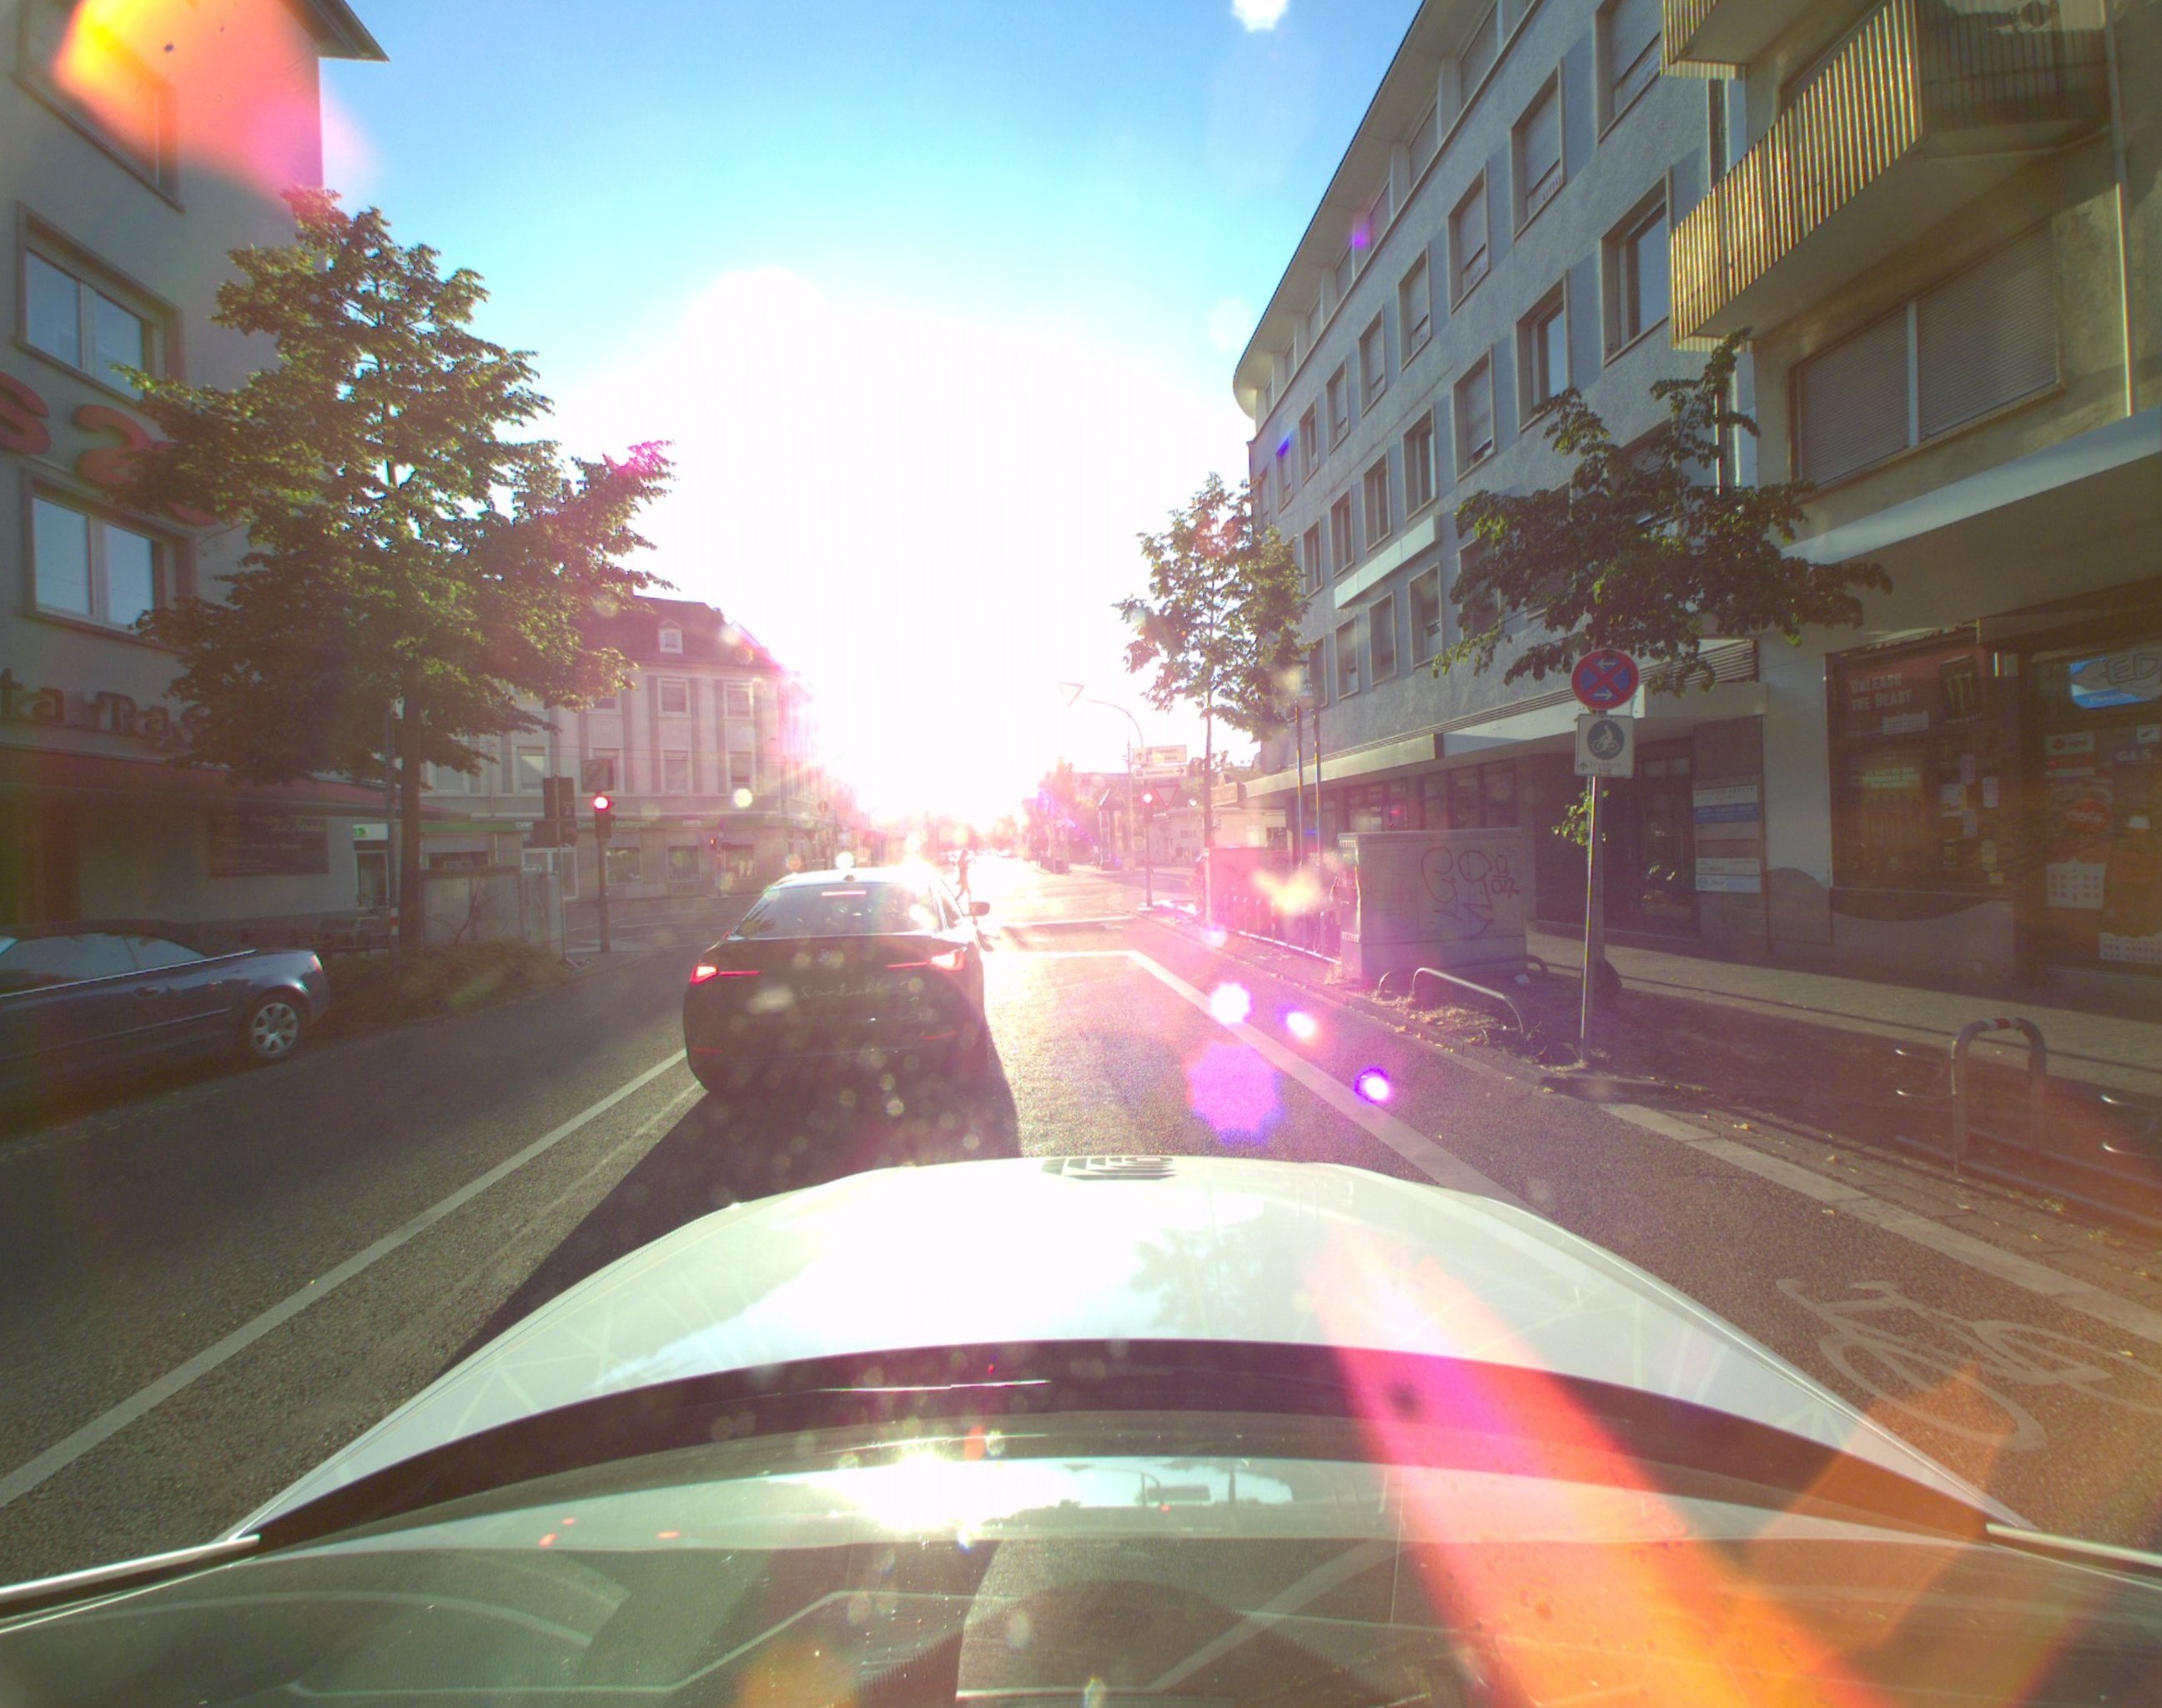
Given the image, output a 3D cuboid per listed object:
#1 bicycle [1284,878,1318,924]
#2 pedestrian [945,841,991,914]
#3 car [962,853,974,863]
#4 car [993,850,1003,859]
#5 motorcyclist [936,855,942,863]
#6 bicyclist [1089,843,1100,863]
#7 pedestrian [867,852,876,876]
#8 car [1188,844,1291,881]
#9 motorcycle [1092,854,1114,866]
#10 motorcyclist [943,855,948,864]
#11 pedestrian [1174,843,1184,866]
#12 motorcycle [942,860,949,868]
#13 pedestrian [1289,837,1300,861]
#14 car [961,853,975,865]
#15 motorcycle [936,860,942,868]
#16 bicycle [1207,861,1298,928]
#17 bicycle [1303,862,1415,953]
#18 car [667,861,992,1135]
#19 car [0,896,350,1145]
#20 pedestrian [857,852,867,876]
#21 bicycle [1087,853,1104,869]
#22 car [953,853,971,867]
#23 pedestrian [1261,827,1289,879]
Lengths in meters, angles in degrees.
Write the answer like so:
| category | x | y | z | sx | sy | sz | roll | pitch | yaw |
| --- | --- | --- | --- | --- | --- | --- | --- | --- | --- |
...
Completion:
| category | x | y | z | sx | sy | sz | roll | pitch | yaw |
| --- | --- | --- | --- | --- | --- | --- | --- | --- | --- |
| bicycle | 4.156 | 0.874 | 15.432 | 0.249 | 0.796 | 1.114 | 0 | 0 | -4 |
| pedestrian | -3.009 | 0.615 | 21.688 | 1.006 | 1.860 | 0.634 | -3 | 1 | -27 |
| car | -17.711 | 0.625 | 127.765 | 1.816 | 1.519 | 3.992 | -2 | 0 | -6 |
| car | -16.788 | 0.099 | 164.113 | 1.768 | 1.848 | 3.995 | -2 | 0 | -3 |
| motorcyclist | -16.530 | 0.611 | 94.743 | 0.574 | 0.915 | 2.196 | 0 | 0 | -6 |
| bicyclist | 1.007 | -0.084 | 60.701 | 0.551 | 1.481 | 0.718 | -1 | -1 | -19 |
| pedestrian | -16.330 | 0.761 | 63.512 | 0.616 | 1.876 | 0.676 | 0 | 0 | -10 |
| car | 7.118 | 0.337 | 36.396 | 4.436 | 1.473 | 1.799 | -2 | 1 | -32 |
| motorcycle | 1.849 | 0.504 | 67.994 | 1.673 | 0.939 | 0.851 | -2 | 0 | -18 |
| motorcyclist | -15.666 | 0.604 | 94.216 | 0.574 | 0.995 | 0.701 | 0 | 0 | -6 |
| pedestrian | 6.543 | 0.011 | 54.433 | 0.467 | 1.529 | 0.739 | -1 | 0 | 25 |
| motorcycle | -15.683 | 1.136 | 94.313 | 0.574 | 0.915 | 2.196 | 0 | 0 | -6 |
| pedestrian | 14.979 | -0.350 | 57.092 | 0.481 | 1.734 | 0.526 | 0 | 0 | -31 |
| car | -15.715 | 0.640 | 113.583 | 1.816 | 1.519 | 3.992 | -2 | 0 | -6 |
| motorcycle | -16.532 | 1.143 | 94.719 | 0.574 | 0.915 | 2.196 | 0 | 0 | -6 |
| bicycle | 3.191 | 0.745 | 15.205 | 1.610 | 1.171 | 0.318 | -2 | 0 | -5 |
| bicycle | 3.873 | 0.727 | 11.360 | 1.438 | 1.220 | 0.383 | 0 | 0 | -5 |
| car | -1.643 | 0.802 | 6.648 | 1.735 | 1.428 | 4.213 | -1 | 0 | -7 |
| car | -7.638 | 1.154 | 5.541 | 1.721 | 1.415 | 4.270 | -4 | 0 | -7 |
| pedestrian | -16.868 | 0.766 | 62.753 | 0.642 | 1.876 | 0.630 | 0 | 0 | -7 |
| bicycle | 1.043 | 0.514 | 60.622 | 0.551 | 1.159 | 2.130 | -1 | -1 | -19 |
| car | -13.909 | 0.708 | 95.147 | 1.816 | 1.519 | 3.992 | -2 | 0 | -6 |
| pedestrian | 7.072 | -0.046 | 29.683 | 0.828 | 1.841 | 0.683 | -2 | 0 | 24 |
